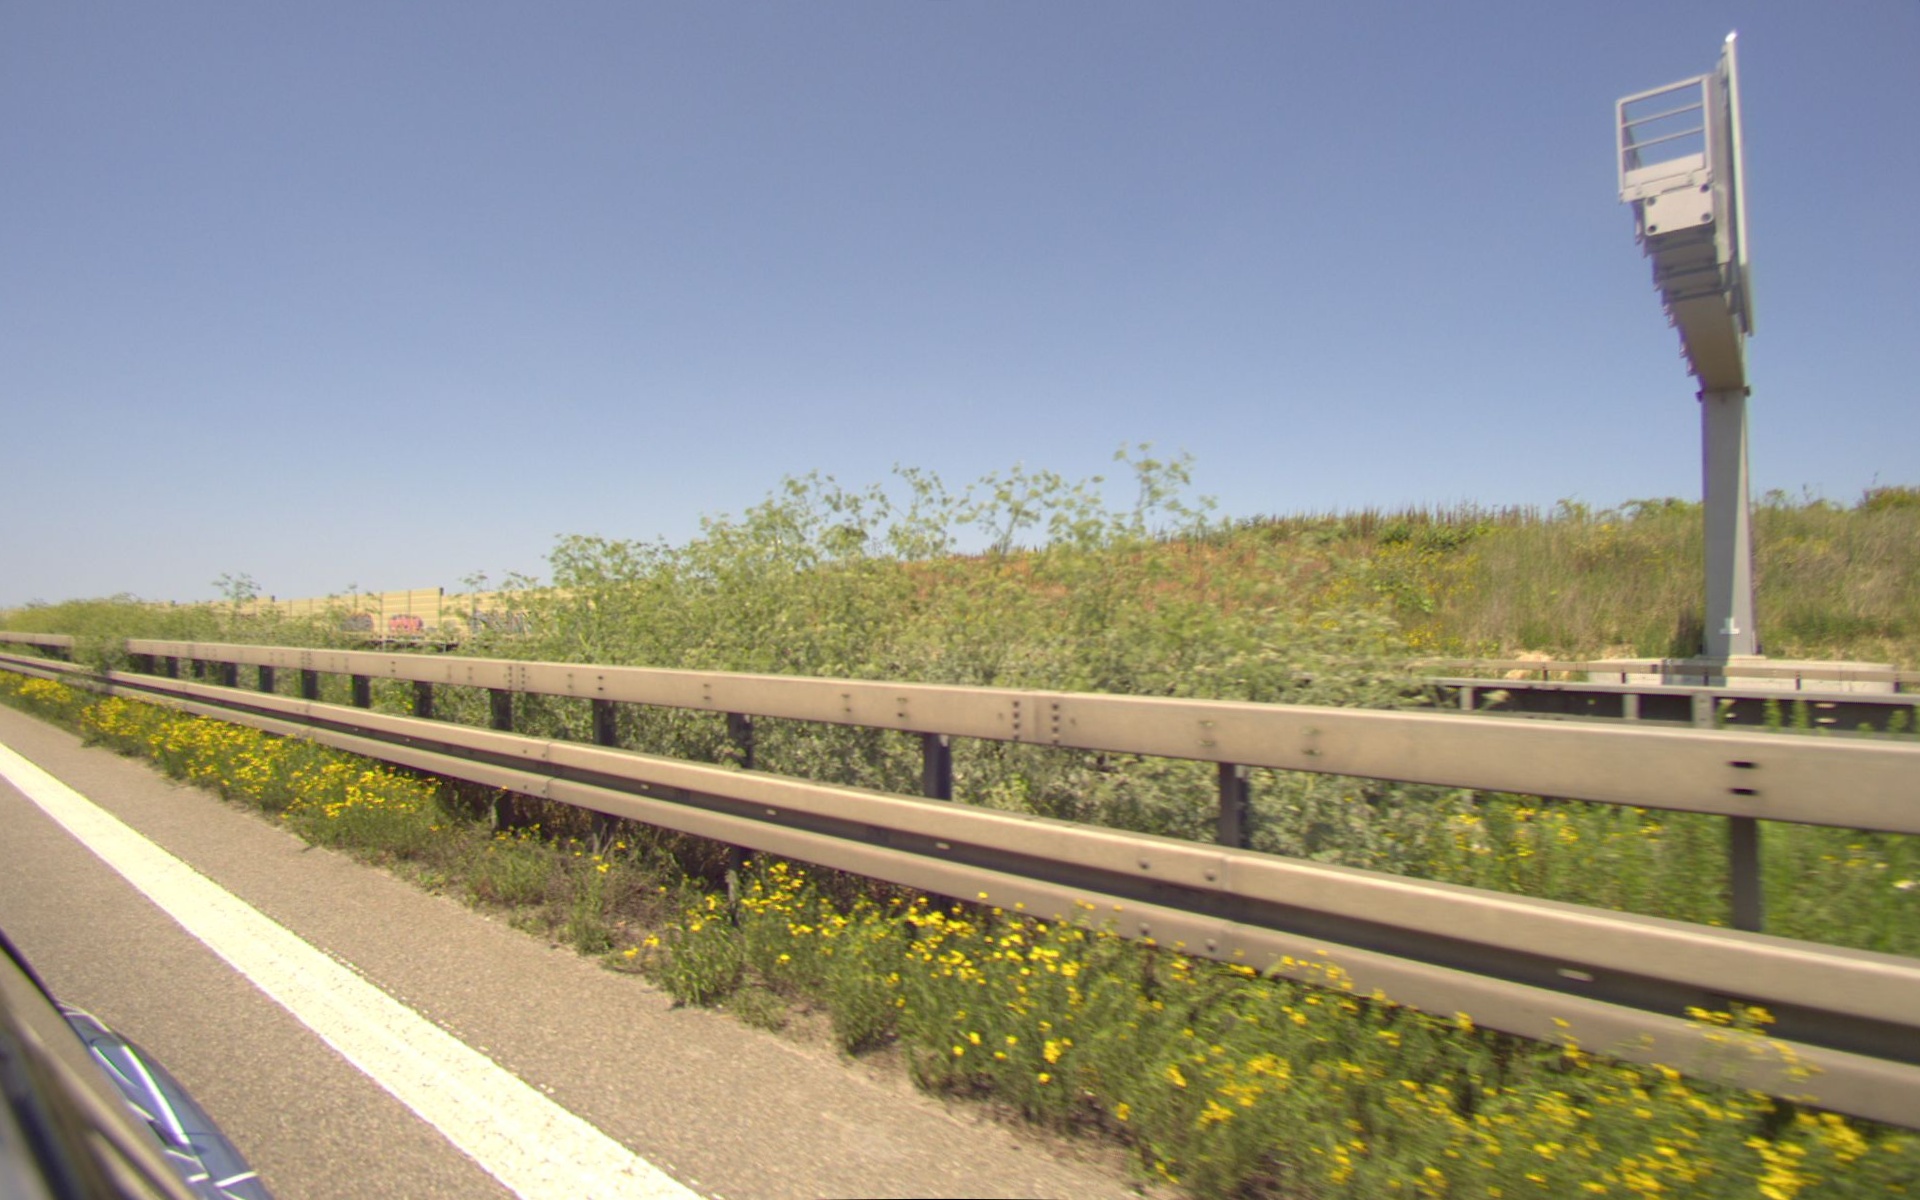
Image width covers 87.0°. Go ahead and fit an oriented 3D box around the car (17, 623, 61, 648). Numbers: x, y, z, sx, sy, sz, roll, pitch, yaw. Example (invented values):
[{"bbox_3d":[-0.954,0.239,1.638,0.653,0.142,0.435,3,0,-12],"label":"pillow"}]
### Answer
[{"bbox_3d":[-76.770,2.945,84.326,5.852,1.955,1.973,-1,-4,41],"label":"car"}]
